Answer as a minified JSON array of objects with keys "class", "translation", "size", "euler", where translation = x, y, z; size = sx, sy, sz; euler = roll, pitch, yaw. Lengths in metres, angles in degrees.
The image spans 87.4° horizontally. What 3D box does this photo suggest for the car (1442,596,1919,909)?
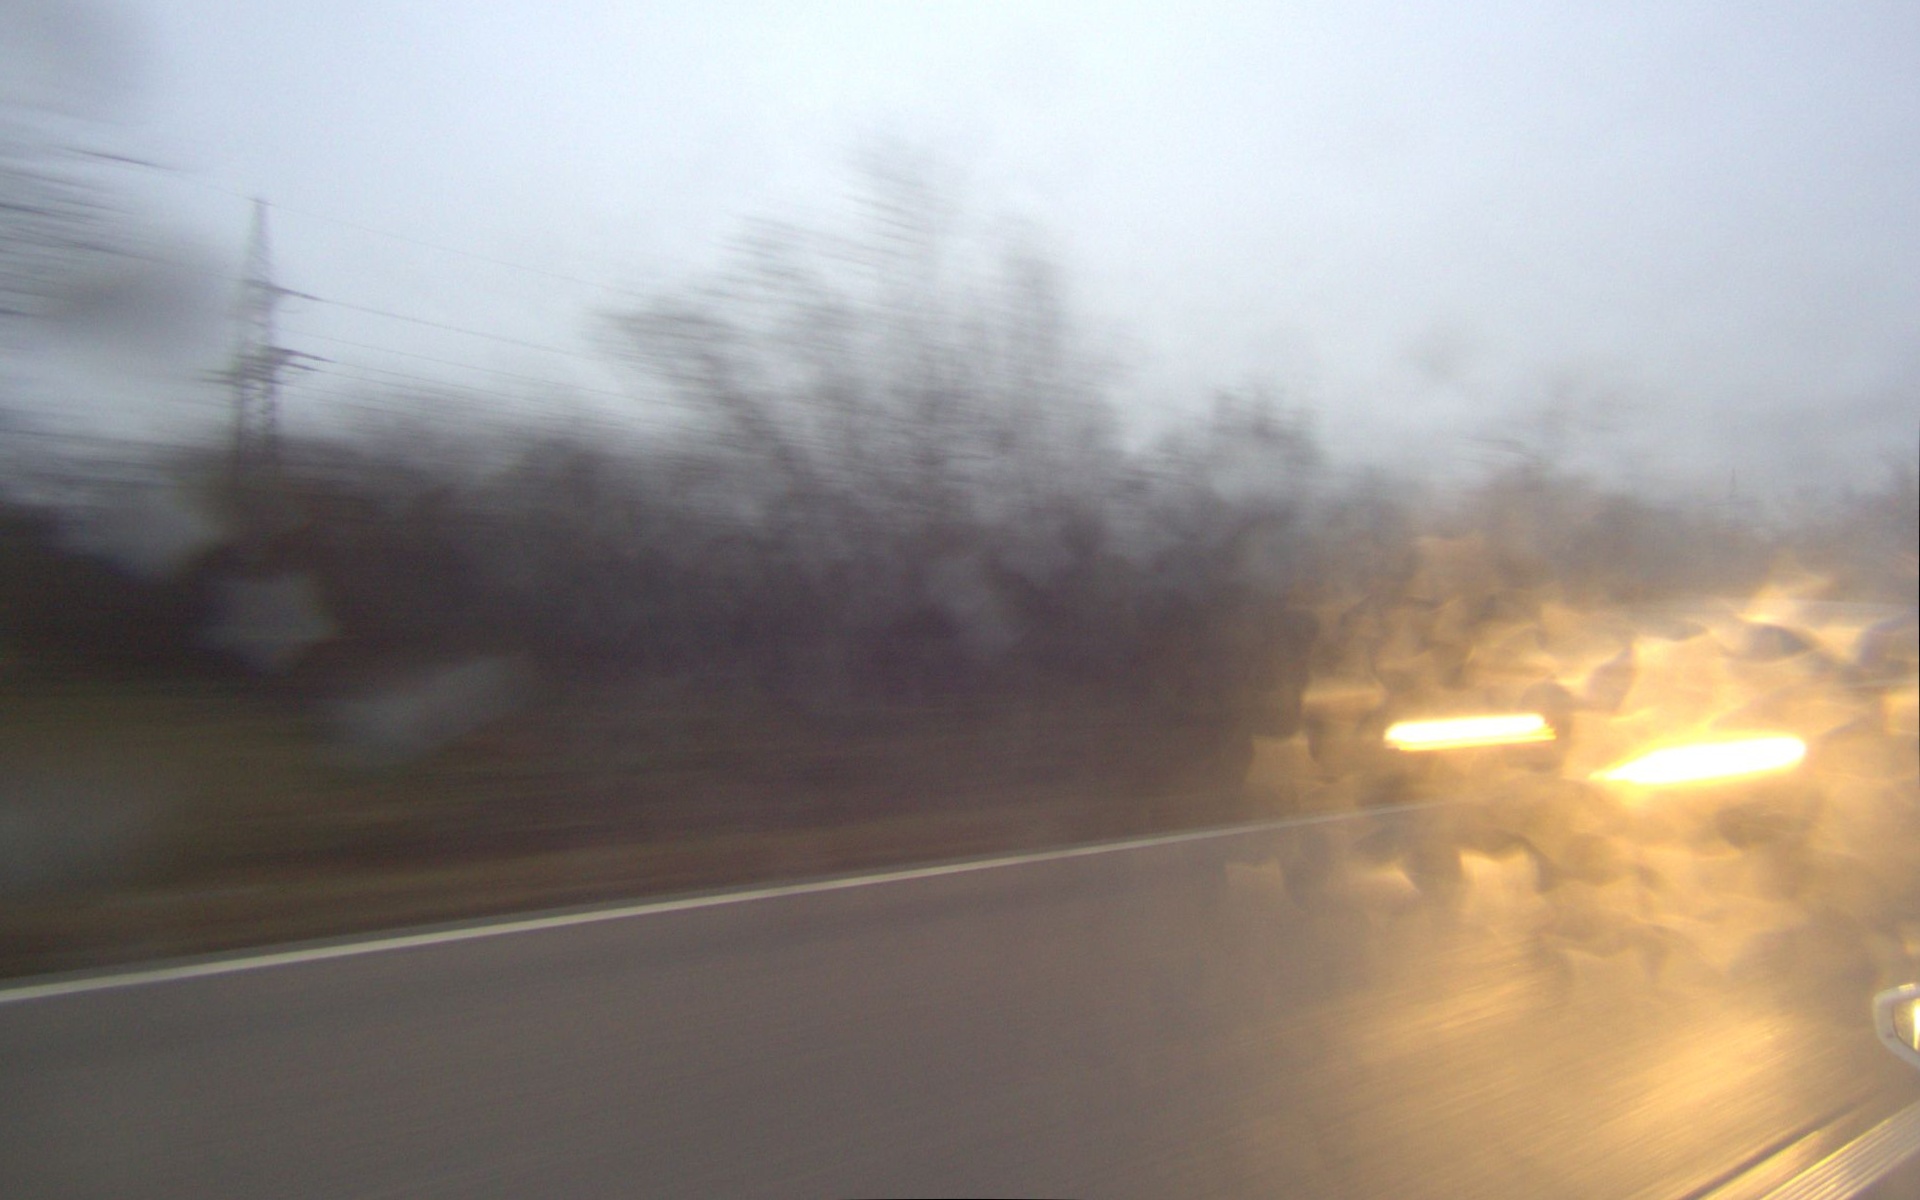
[{"class":"car","translation":[5.677,0.842,7.141],"size":[4.638,1.617,1.771],"euler":[2,-1,-30]}]
